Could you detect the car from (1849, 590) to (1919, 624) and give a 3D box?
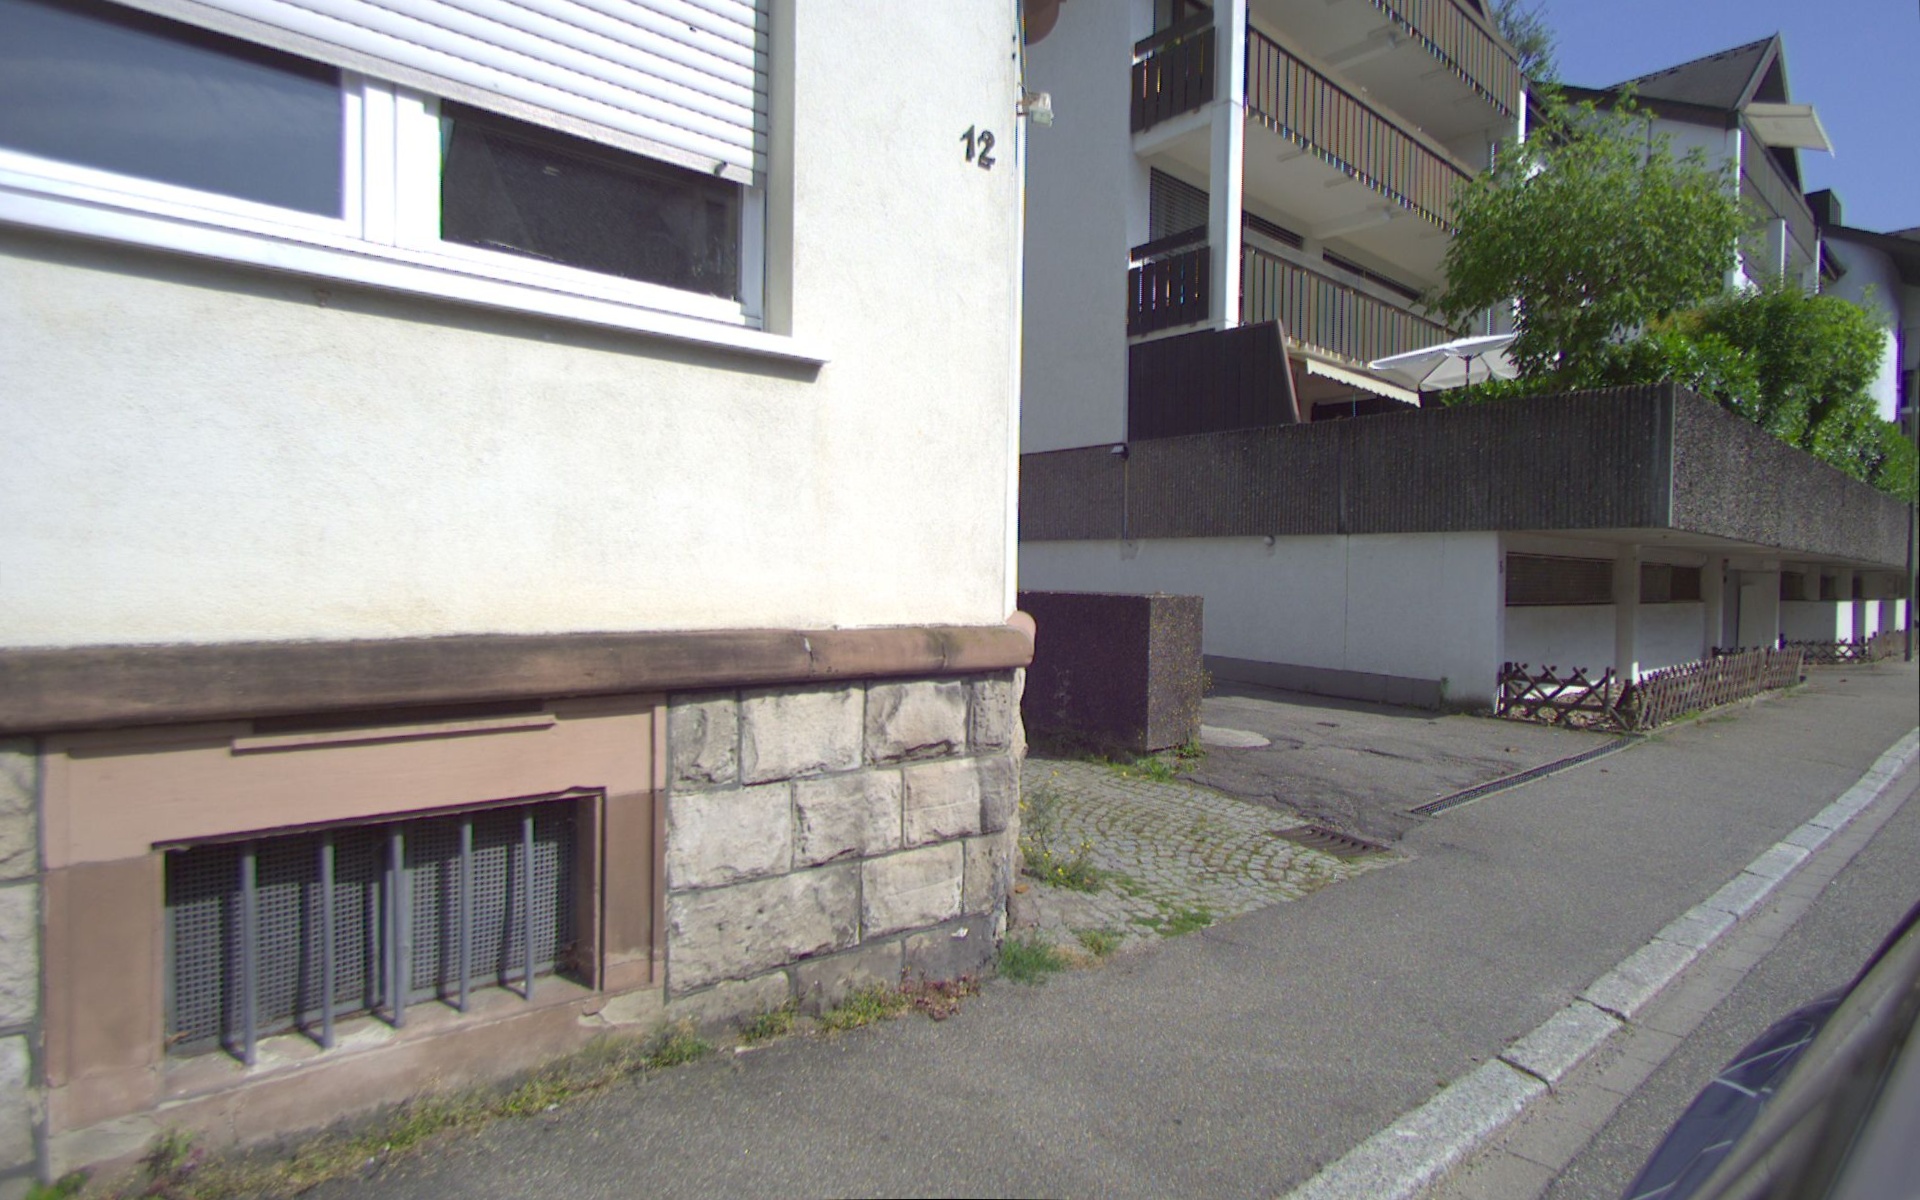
[{"bbox_3d":[42.051,0.317,44.879,1.672,1.498,3.830,1,-1,-43],"label":"car"}]
